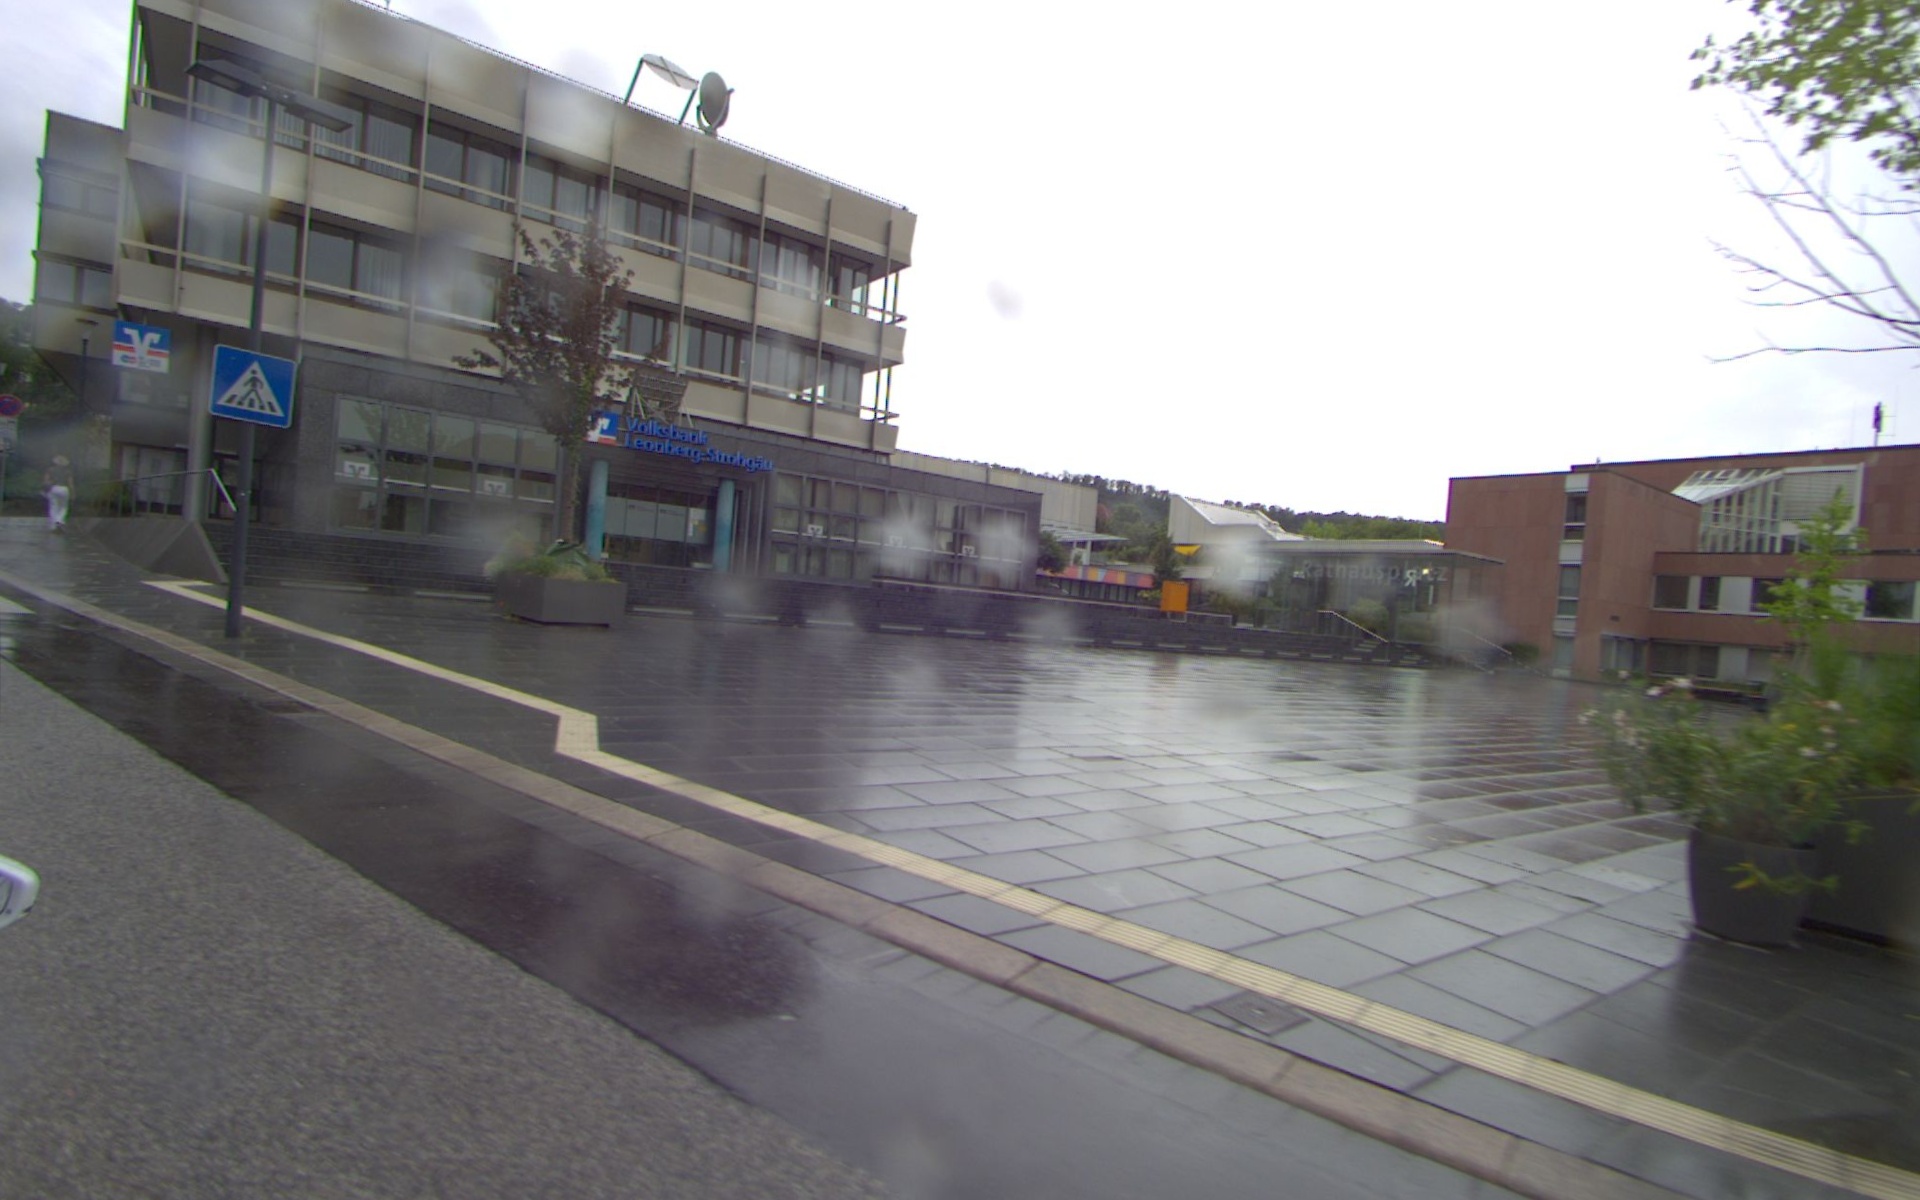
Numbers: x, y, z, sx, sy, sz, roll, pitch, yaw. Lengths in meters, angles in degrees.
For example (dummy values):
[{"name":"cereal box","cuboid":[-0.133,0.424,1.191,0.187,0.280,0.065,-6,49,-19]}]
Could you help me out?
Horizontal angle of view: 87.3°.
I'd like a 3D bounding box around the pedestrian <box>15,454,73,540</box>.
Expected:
[{"name":"pedestrian","cuboid":[-21.184,-2.355,23.283,0.829,1.854,0.807,4,2,-36]}]
